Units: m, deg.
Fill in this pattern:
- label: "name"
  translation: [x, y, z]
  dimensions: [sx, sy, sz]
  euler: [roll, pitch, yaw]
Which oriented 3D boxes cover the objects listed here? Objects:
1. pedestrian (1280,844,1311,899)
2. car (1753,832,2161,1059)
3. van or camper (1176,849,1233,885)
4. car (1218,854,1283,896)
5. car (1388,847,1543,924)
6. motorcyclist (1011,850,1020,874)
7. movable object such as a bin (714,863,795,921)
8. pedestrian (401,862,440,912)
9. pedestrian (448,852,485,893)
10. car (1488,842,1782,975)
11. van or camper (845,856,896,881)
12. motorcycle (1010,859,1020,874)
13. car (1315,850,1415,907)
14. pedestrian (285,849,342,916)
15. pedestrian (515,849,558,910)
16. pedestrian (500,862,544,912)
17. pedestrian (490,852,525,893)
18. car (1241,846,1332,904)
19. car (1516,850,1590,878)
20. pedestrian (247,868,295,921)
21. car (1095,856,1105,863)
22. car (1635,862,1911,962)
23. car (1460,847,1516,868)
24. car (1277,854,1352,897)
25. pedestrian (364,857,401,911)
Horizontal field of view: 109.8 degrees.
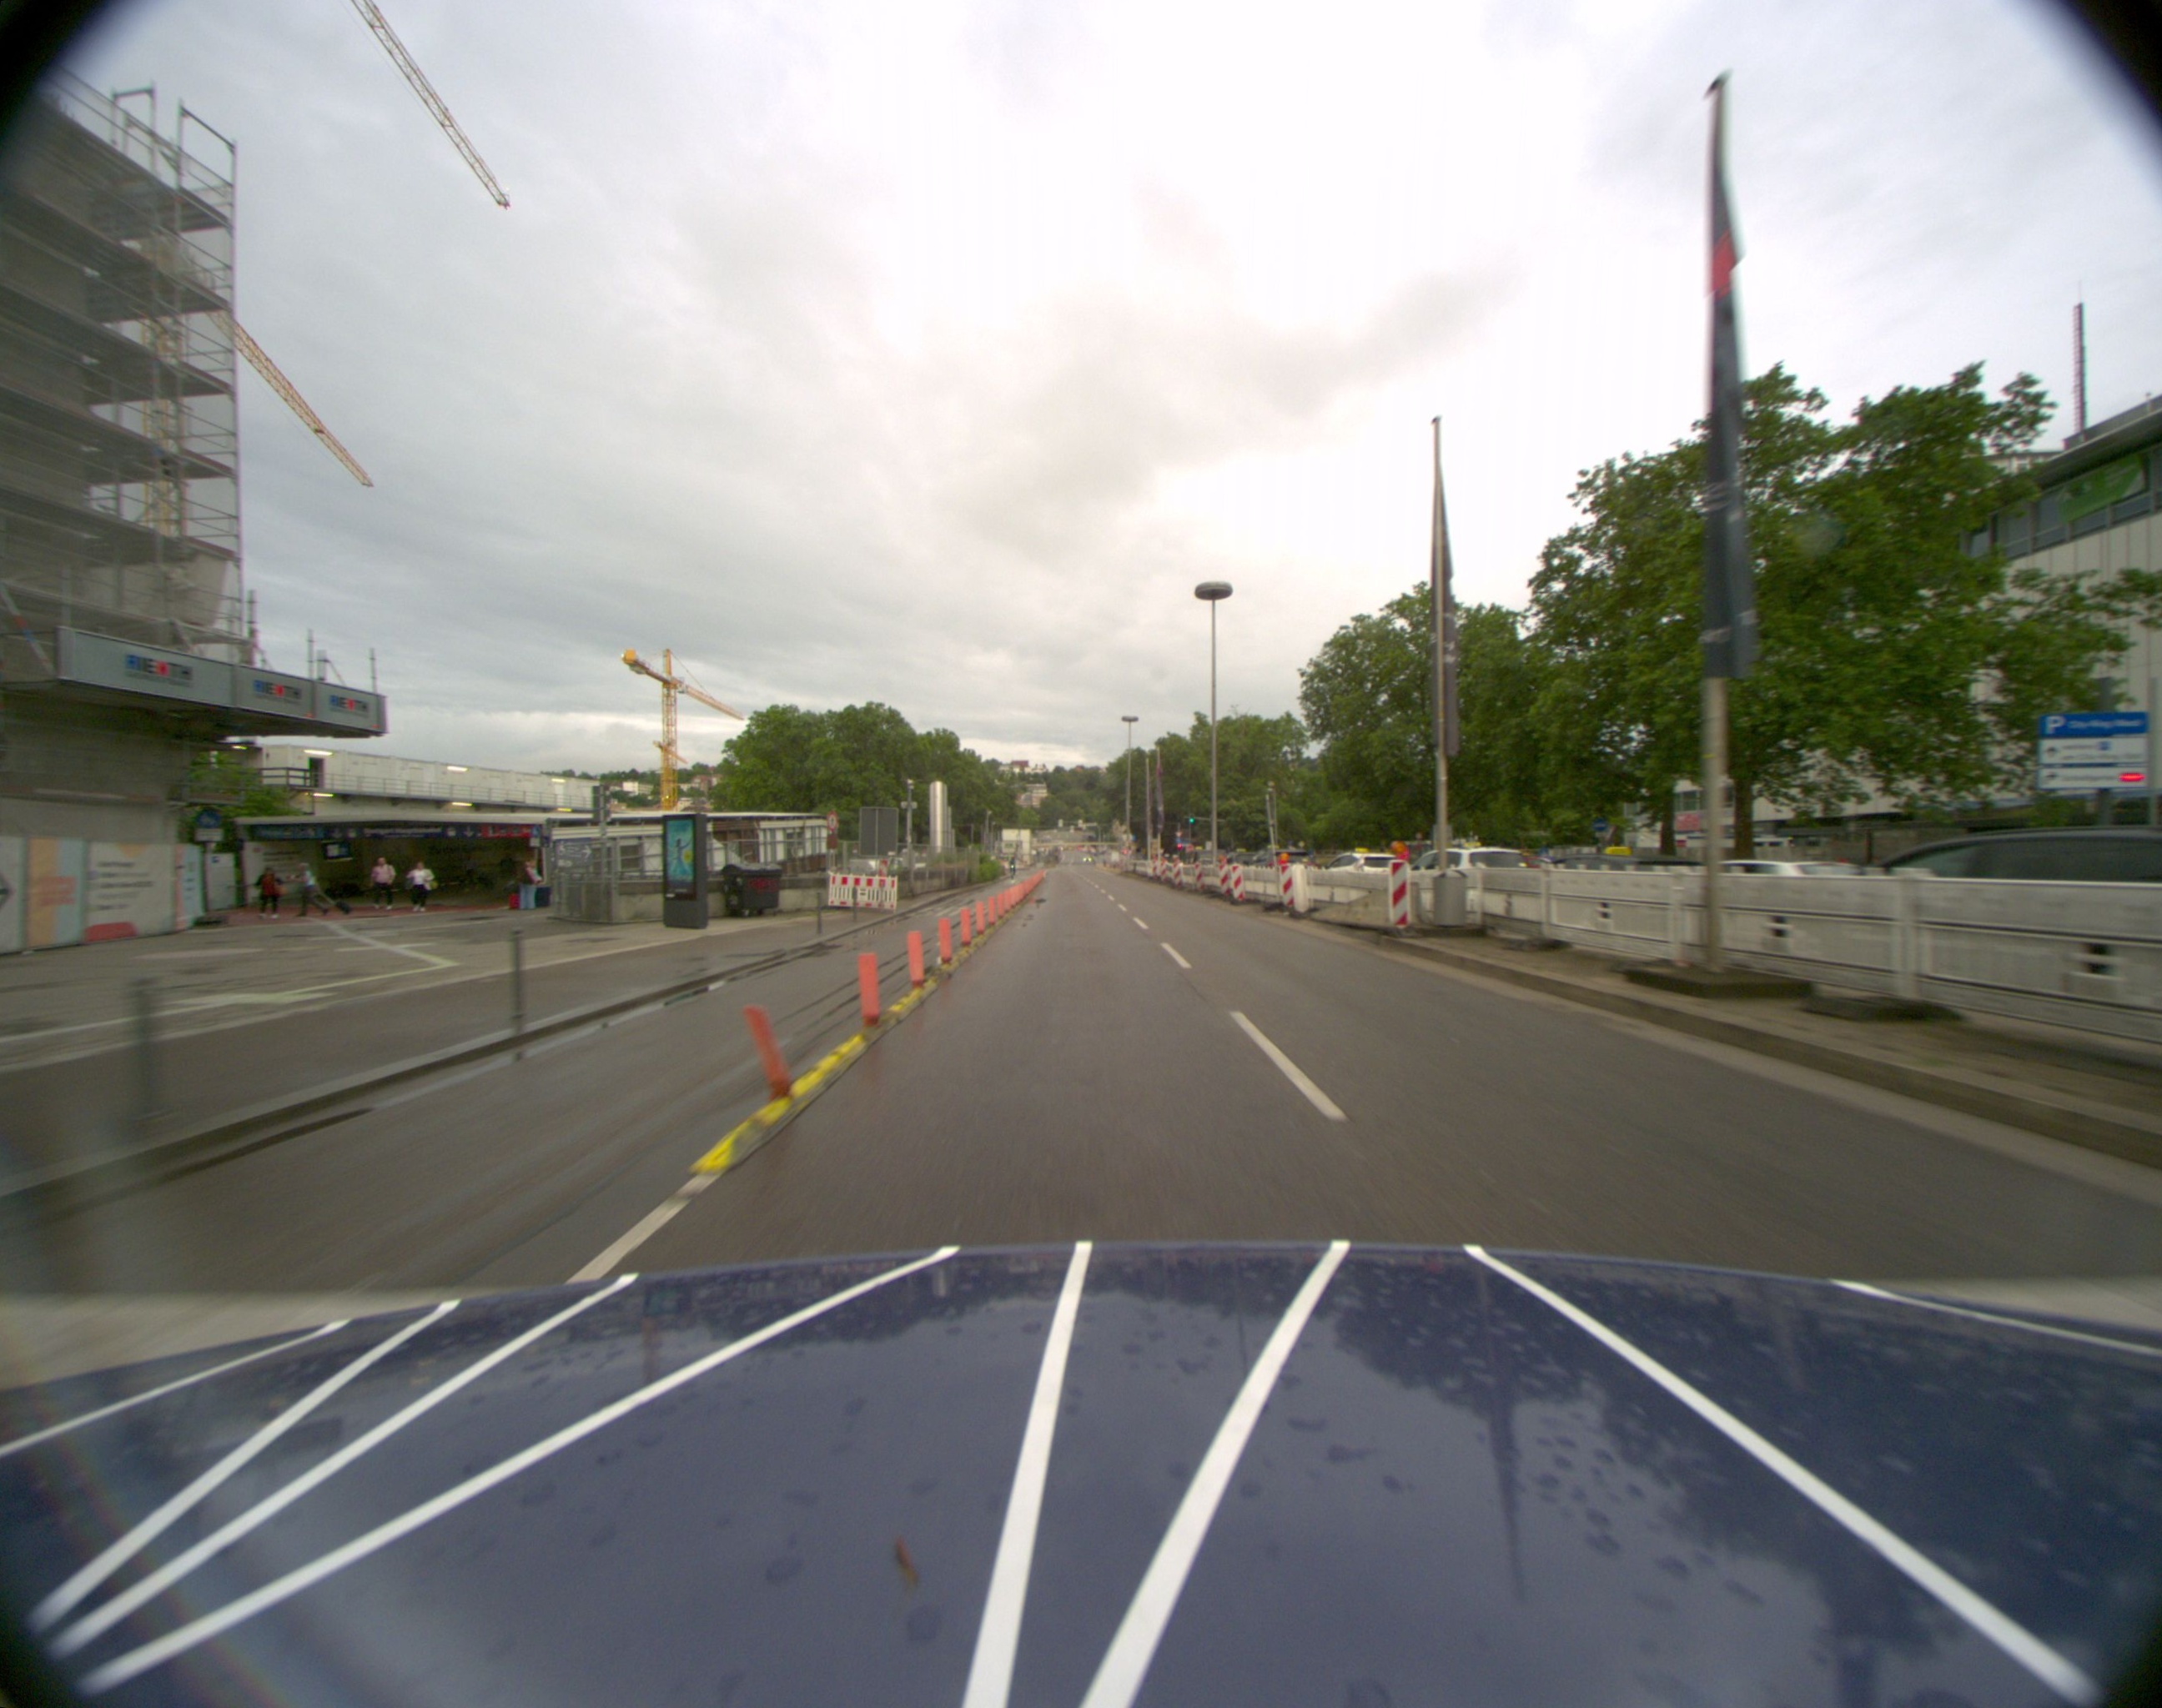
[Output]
- label: "pedestrian"
  translation: [7.905, 0.638, 27.997]
  dimensions: [0.878, 2.002, 0.821]
  euler: [-1, 0, -2]
- label: "car"
  translation: [9.031, 0.672, 6.919]
  dimensions: [1.907, 1.689, 4.501]
  euler: [-2, -1, 2]
- label: "van or camper"
  translation: [6.719, 0.693, 41.795]
  dimensions: [1.951, 1.809, 5.391]
  euler: [2, 0, -3]
- label: "car"
  translation: [7.469, 0.914, 33.977]
  dimensions: [1.998, 1.760, 4.812]
  euler: [0, -1, 2]
- label: "car"
  translation: [9.510, 0.749, 19.248]
  dimensions: [1.788, 1.712, 4.484]
  euler: [0, -1, 2]
- label: "motorcyclist"
  translation: [-5.544, 0.659, 64.417]
  dimensions: [0.726, 2.024, 0.587]
  euler: [0, -1, -2]
- label: "movable object such as a bin"
  translation: [-8.832, 0.999, 20.586]
  dimensions: [1.299, 1.483, 1.537]
  euler: [0, 0, 33]
- label: "pedestrian"
  translation: [-22.002, 1.078, 25.324]
  dimensions: [0.916, 1.636, 0.701]
  euler: [0, 0, -35]
- label: "pedestrian"
  translation: [-26.830, 0.806, 33.181]
  dimensions: [0.951, 1.783, 0.770]
  euler: [0, 0, 1]
- label: "car"
  translation: [9.259, 0.827, 13.303]
  dimensions: [1.907, 1.886, 4.524]
  euler: [-2, -1, 2]
- label: "van or camper"
  translation: [-20.871, 1.481, 75.263]
  dimensions: [2.392, 2.387, 6.046]
  euler: [1, -2, -42]
- label: "motorcycle"
  translation: [-5.558, 1.077, 64.479]
  dimensions: [0.730, 1.221, 2.161]
  euler: [0, -1, -2]
- label: "car"
  translation: [9.993, 0.823, 27.165]
  dimensions: [1.919, 1.840, 4.567]
  euler: [0, -1, 1]
- label: "pedestrian"
  translation: [-23.376, 0.863, 23.152]
  dimensions: [0.765, 2.002, 0.933]
  euler: [0, 0, 1]
- label: "pedestrian"
  translation: [-18.452, 0.843, 25.751]
  dimensions: [0.806, 2.002, 0.765]
  euler: [-2, 1, -3]
- label: "pedestrian"
  translation: [-18.360, 1.070, 24.964]
  dimensions: [0.857, 1.584, 0.709]
  euler: [-2, 1, -3]
- label: "pedestrian"
  translation: [-24.864, 0.795, 32.941]
  dimensions: [0.951, 1.783, 0.770]
  euler: [0, 0, 1]
- label: "car"
  translation: [6.989, 0.697, 26.350]
  dimensions: [1.998, 1.806, 4.812]
  euler: [0, -1, 2]
- label: "car"
  translation: [30.203, 0.645, 48.682]
  dimensions: [3.735, 1.534, 1.856]
  euler: [-4, 0, 41]
- label: "pedestrian"
  translation: [-23.533, 1.156, 22.084]
  dimensions: [0.702, 1.498, 0.642]
  euler: [0, 0, 3]
- label: "car"
  translation: [4.624, 1.356, 184.408]
  dimensions: [1.664, 1.533, 4.155]
  euler: [-1, -2, -12]
- label: "car"
  translation: [13.011, 1.007, 14.669]
  dimensions: [1.838, 1.636, 3.805]
  euler: [-2, -1, 1]
- label: "car"
  translation: [41.781, 0.325, 78.083]
  dimensions: [4.823, 2.001, 2.039]
  euler: [-2, 0, 21]
- label: "car"
  translation: [10.024, 0.916, 33.021]
  dimensions: [1.895, 1.692, 4.422]
  euler: [-2, -1, 1]
- label: "pedestrian"
  translation: [-24.524, 1.027, 26.679]
  dimensions: [0.863, 1.865, 0.640]
  euler: [0, 0, -35]
